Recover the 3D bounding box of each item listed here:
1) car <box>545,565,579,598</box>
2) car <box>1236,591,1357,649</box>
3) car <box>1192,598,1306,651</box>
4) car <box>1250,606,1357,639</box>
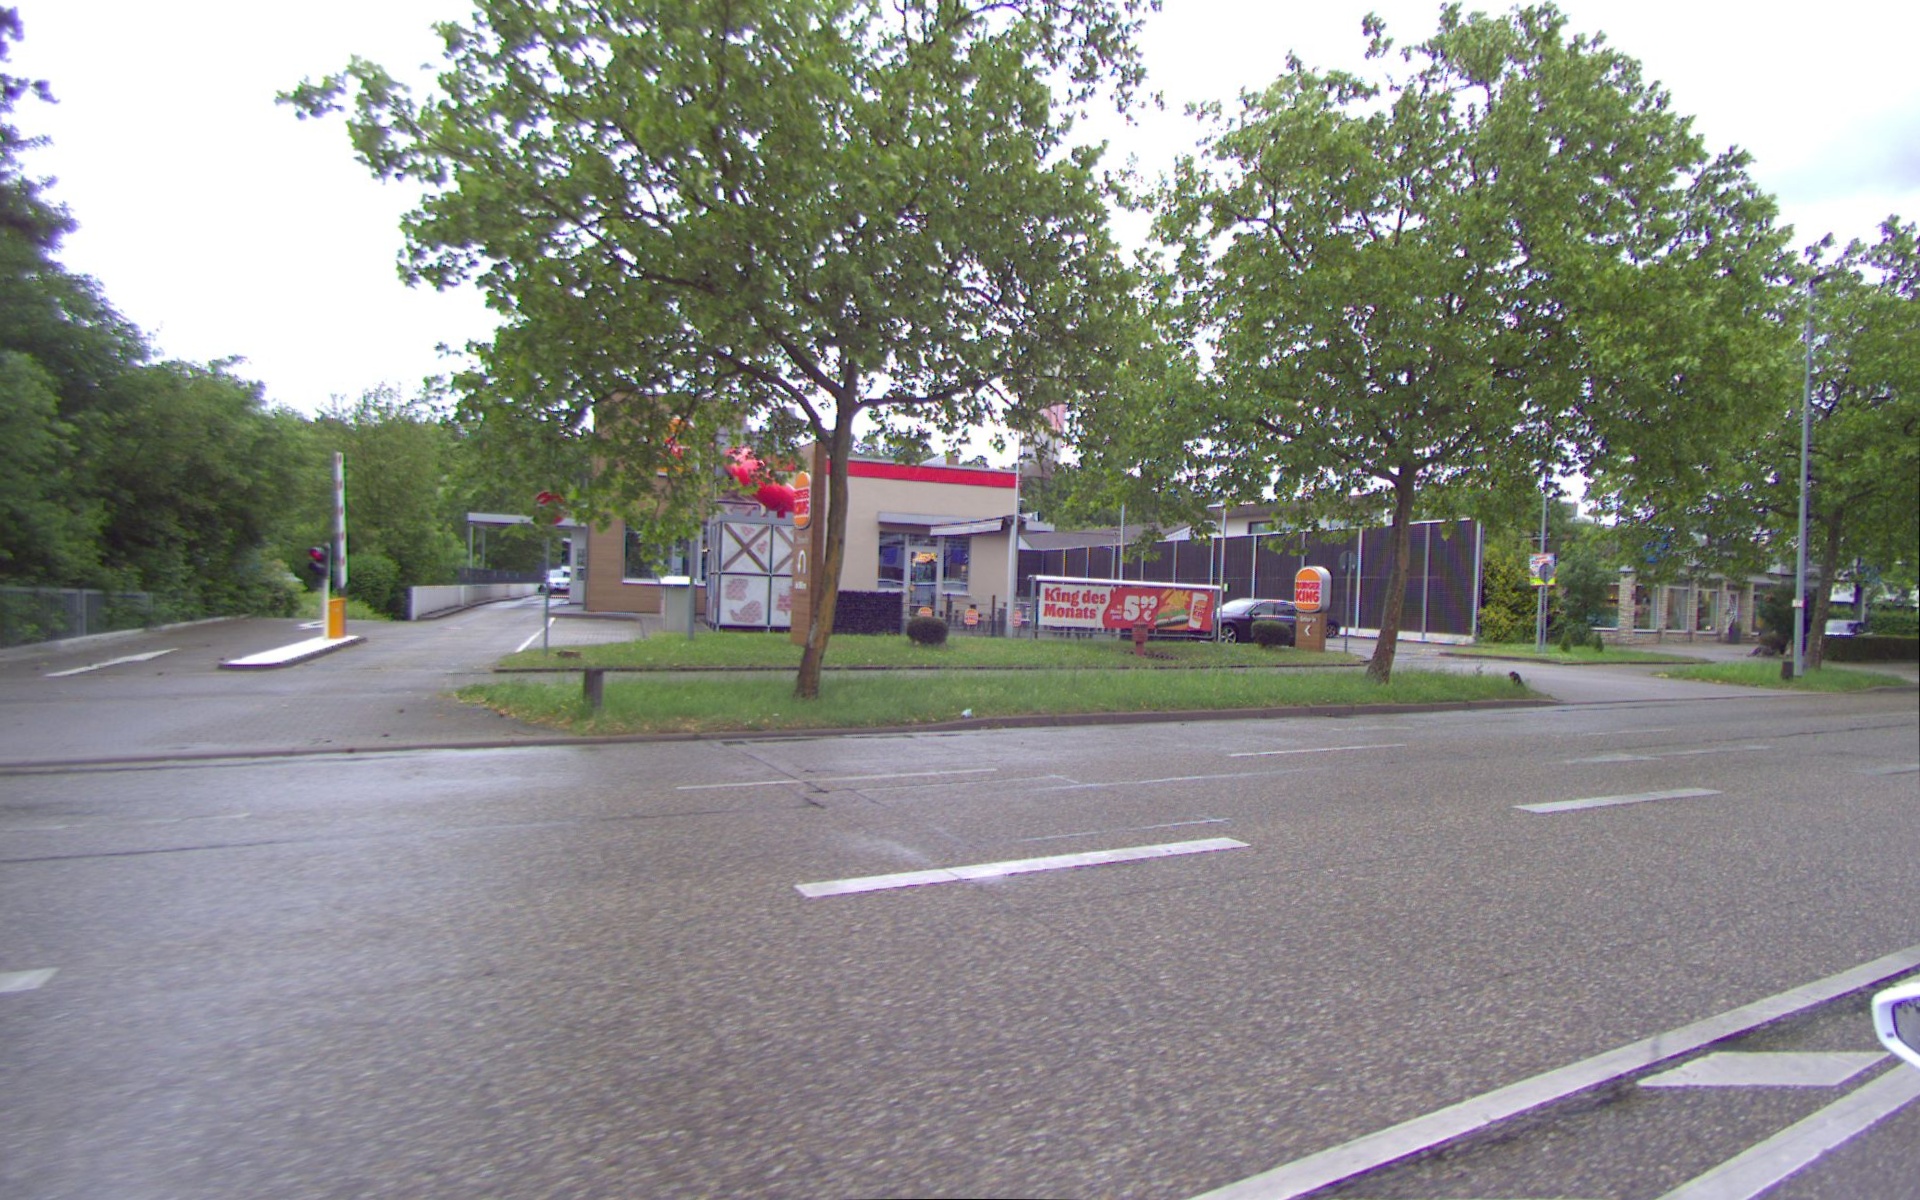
[{"bbox_3d":[-22.745,-1.044,57.452,1.633,1.764,3.602,1,-1,-20],"label":"car"},{"bbox_3d":[9.928,0.595,29.651,3.147,1.445,1.430,4,0,-23],"label":"car"},{"bbox_3d":[7.800,0.639,27.351,1.272,1.171,3.168,1,3,-22],"label":"car"},{"bbox_3d":[15.223,0.964,44.491,4.248,1.383,1.863,0,0,-19],"label":"car"}]
